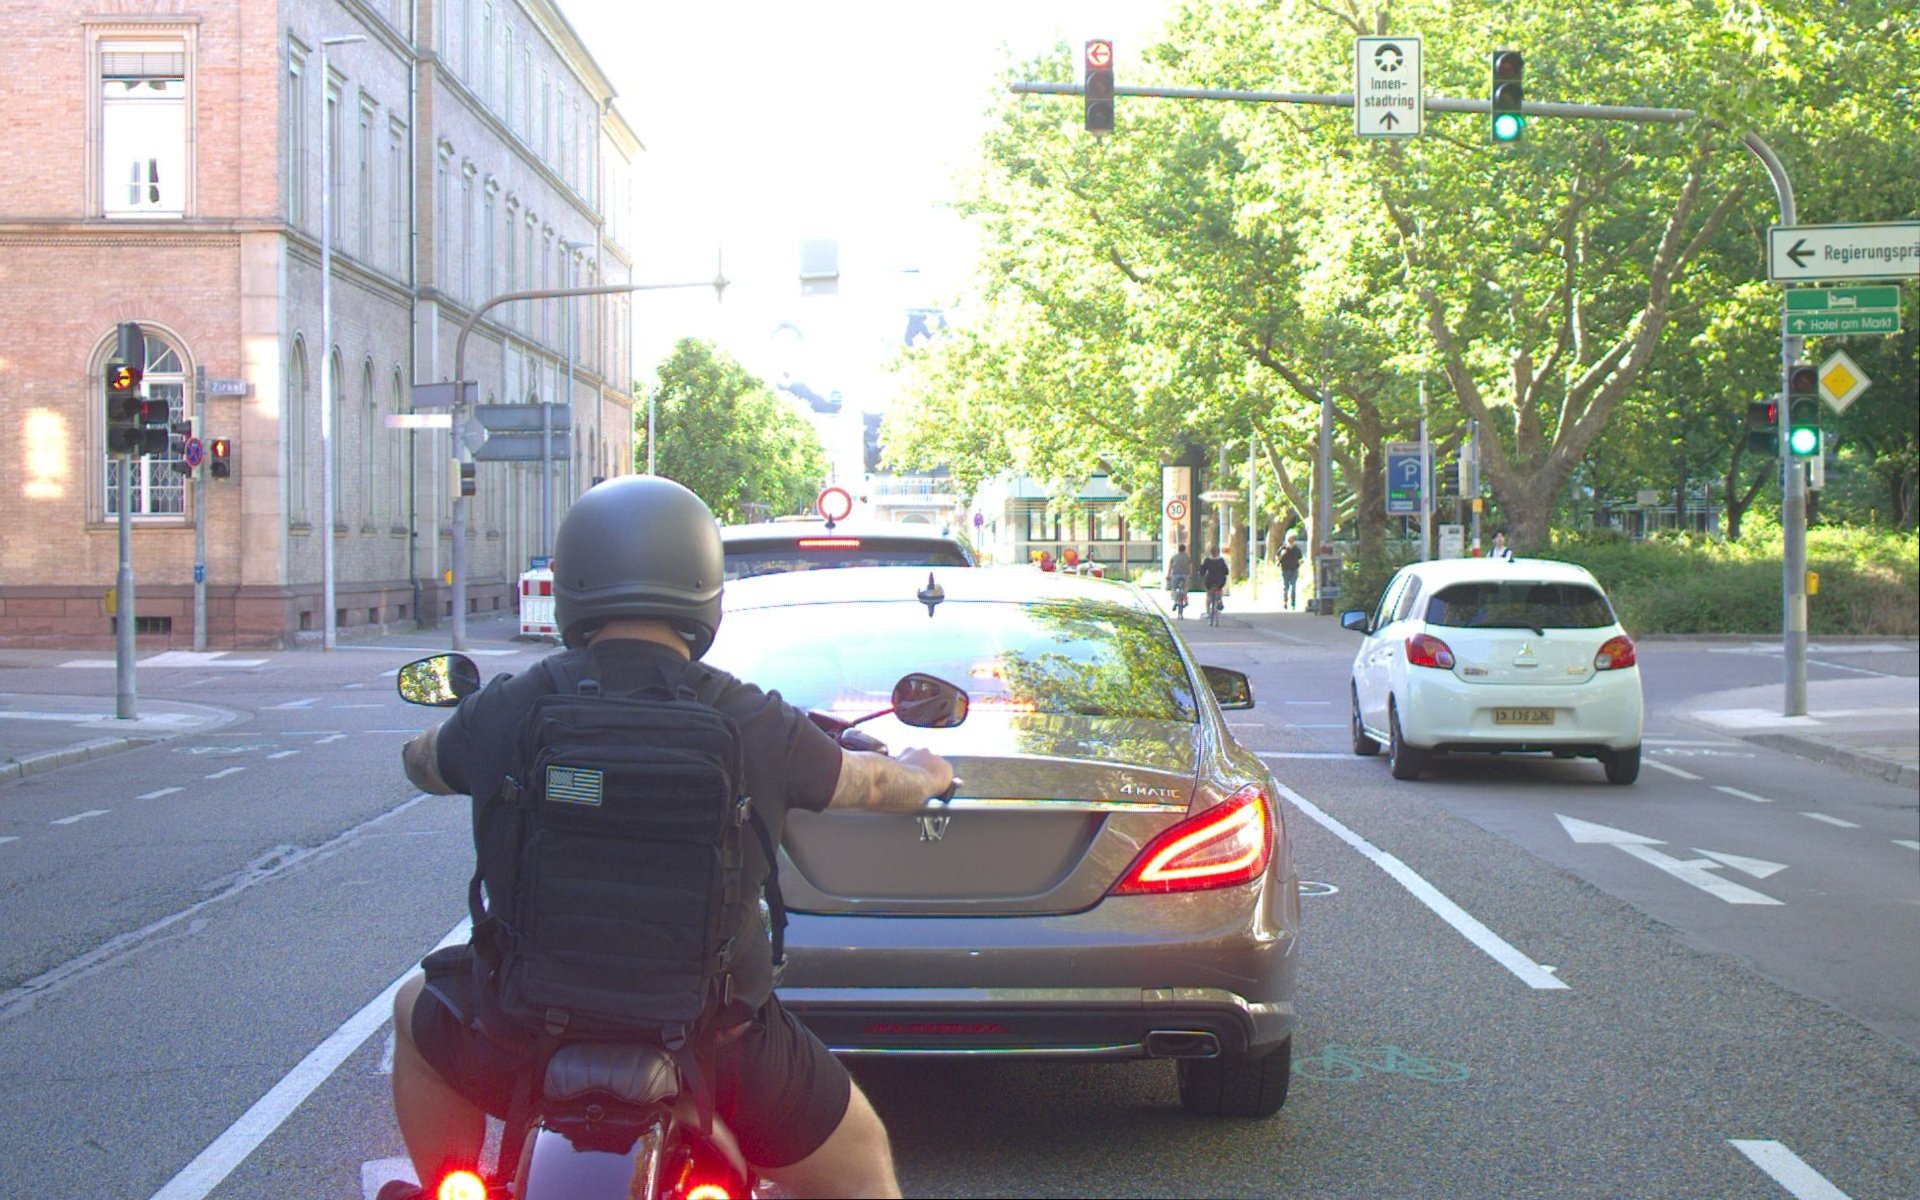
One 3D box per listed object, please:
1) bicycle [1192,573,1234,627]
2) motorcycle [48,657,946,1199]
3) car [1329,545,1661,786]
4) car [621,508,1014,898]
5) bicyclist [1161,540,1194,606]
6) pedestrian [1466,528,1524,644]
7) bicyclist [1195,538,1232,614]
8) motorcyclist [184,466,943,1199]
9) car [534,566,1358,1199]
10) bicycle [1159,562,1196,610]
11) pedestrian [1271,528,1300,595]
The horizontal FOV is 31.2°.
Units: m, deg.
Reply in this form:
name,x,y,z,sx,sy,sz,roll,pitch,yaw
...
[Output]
name,x,y,z,sx,sy,sz,roll,pitch,yaw
bicycle,5.156,0.000,70.163,0.656,1.066,1.927,2,1,-1
motorcycle,-0.540,0.785,5.230,1.012,1.302,2.673,0,1,-1
car,3.605,0.397,23.732,1.679,1.493,3.685,2,1,0
car,-0.797,0.422,16.724,1.630,1.645,3.851,1,1,-6
bicyclist,5.087,-0.637,80.417,0.656,1.525,0.906,2,0,-1
pedestrian,8.282,-0.214,53.207,0.570,1.768,0.625,1,0,-35
bicyclist,5.168,-0.482,70.143,0.656,1.525,0.852,2,0,-1
motorcyclist,-0.539,0.607,5.312,1.012,1.596,1.406,0,1,-1
car,-0.058,0.636,9.590,1.828,1.415,3.815,1,1,-1
bicycle,5.082,-0.334,80.367,0.656,1.107,2.186,2,1,-1
pedestrian,7.781,-0.917,82.128,0.592,1.573,0.527,2,0,0
